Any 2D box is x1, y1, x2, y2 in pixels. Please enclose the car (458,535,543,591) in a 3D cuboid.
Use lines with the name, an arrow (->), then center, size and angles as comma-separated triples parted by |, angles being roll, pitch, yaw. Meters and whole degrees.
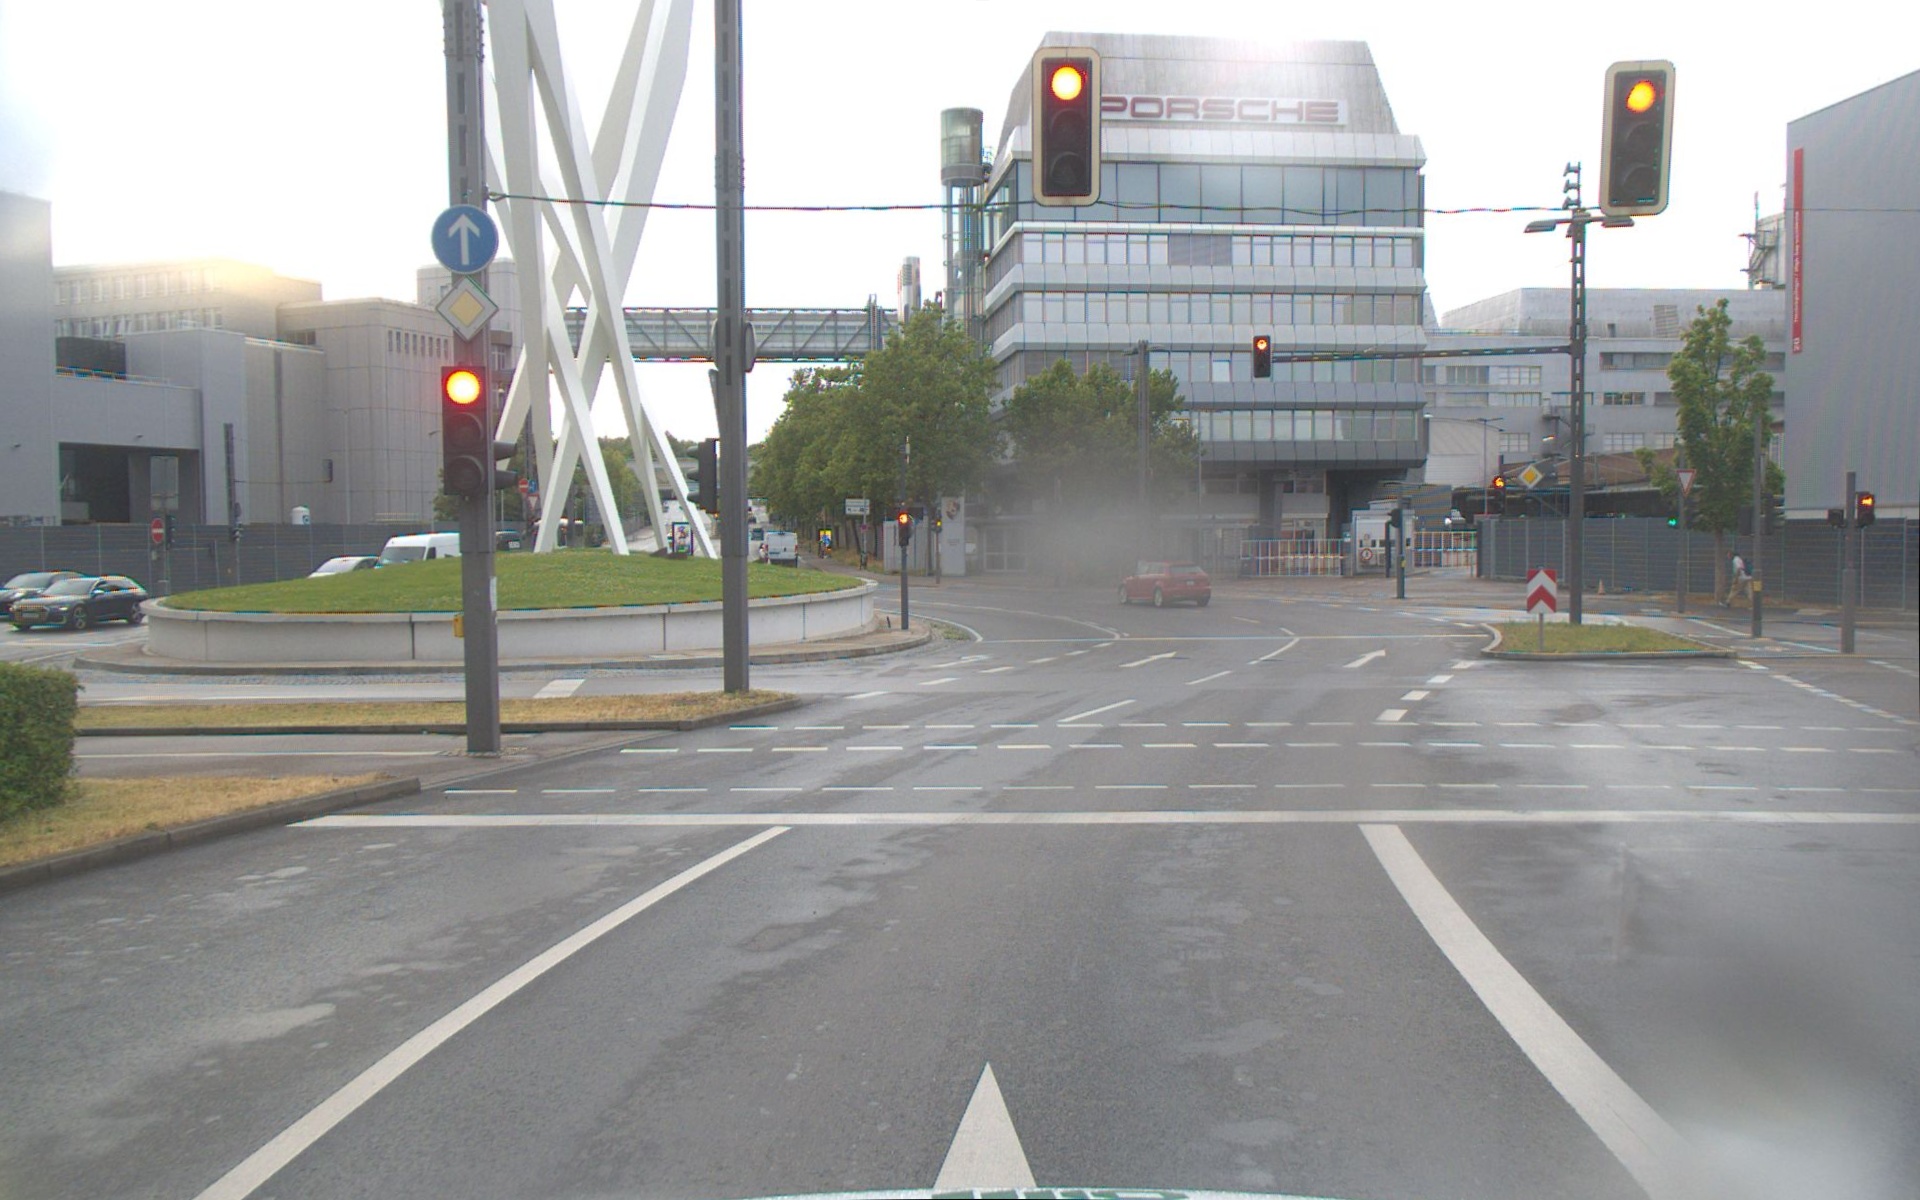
car -> -24.686, -1.966, 89.164 | 1.925, 2.869, 7.133 | 0, 1, 6

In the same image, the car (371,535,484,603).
car -> -20.465, -1.195, 63.827 | 1.951, 2.490, 5.431 | -1, 1, 8

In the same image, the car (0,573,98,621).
car -> -30.245, -0.129, 54.281 | 1.797, 1.498, 4.509 | 0, 1, -5

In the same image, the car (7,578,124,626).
car -> -26.402, 0.026, 48.938 | 1.811, 1.361, 3.991 | -1, 1, -9

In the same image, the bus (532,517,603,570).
bus -> -25.980, -3.656, 110.014 | 2.616, 3.256, 12.659 | 0, 1, -4

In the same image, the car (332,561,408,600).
car -> -24.078, -0.802, 67.640 | 1.796, 1.520, 3.999 | 0, 1, -2

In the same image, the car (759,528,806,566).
car -> -11.095, -3.292, 103.097 | 2.196, 2.144, 4.933 | 0, 0, -16

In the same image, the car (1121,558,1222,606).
car -> 6.822, -0.555, 53.729 | 1.747, 1.490, 3.710 | 0, 0, -20

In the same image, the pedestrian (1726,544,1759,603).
pedestrian -> 22.191, -0.733, 46.913 | 0.791, 1.639, 0.769 | -1, -1, 22

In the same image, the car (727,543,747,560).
car -> -18.169, -3.933, 134.824 | 1.528, 1.311, 3.406 | 0, 0, -10
